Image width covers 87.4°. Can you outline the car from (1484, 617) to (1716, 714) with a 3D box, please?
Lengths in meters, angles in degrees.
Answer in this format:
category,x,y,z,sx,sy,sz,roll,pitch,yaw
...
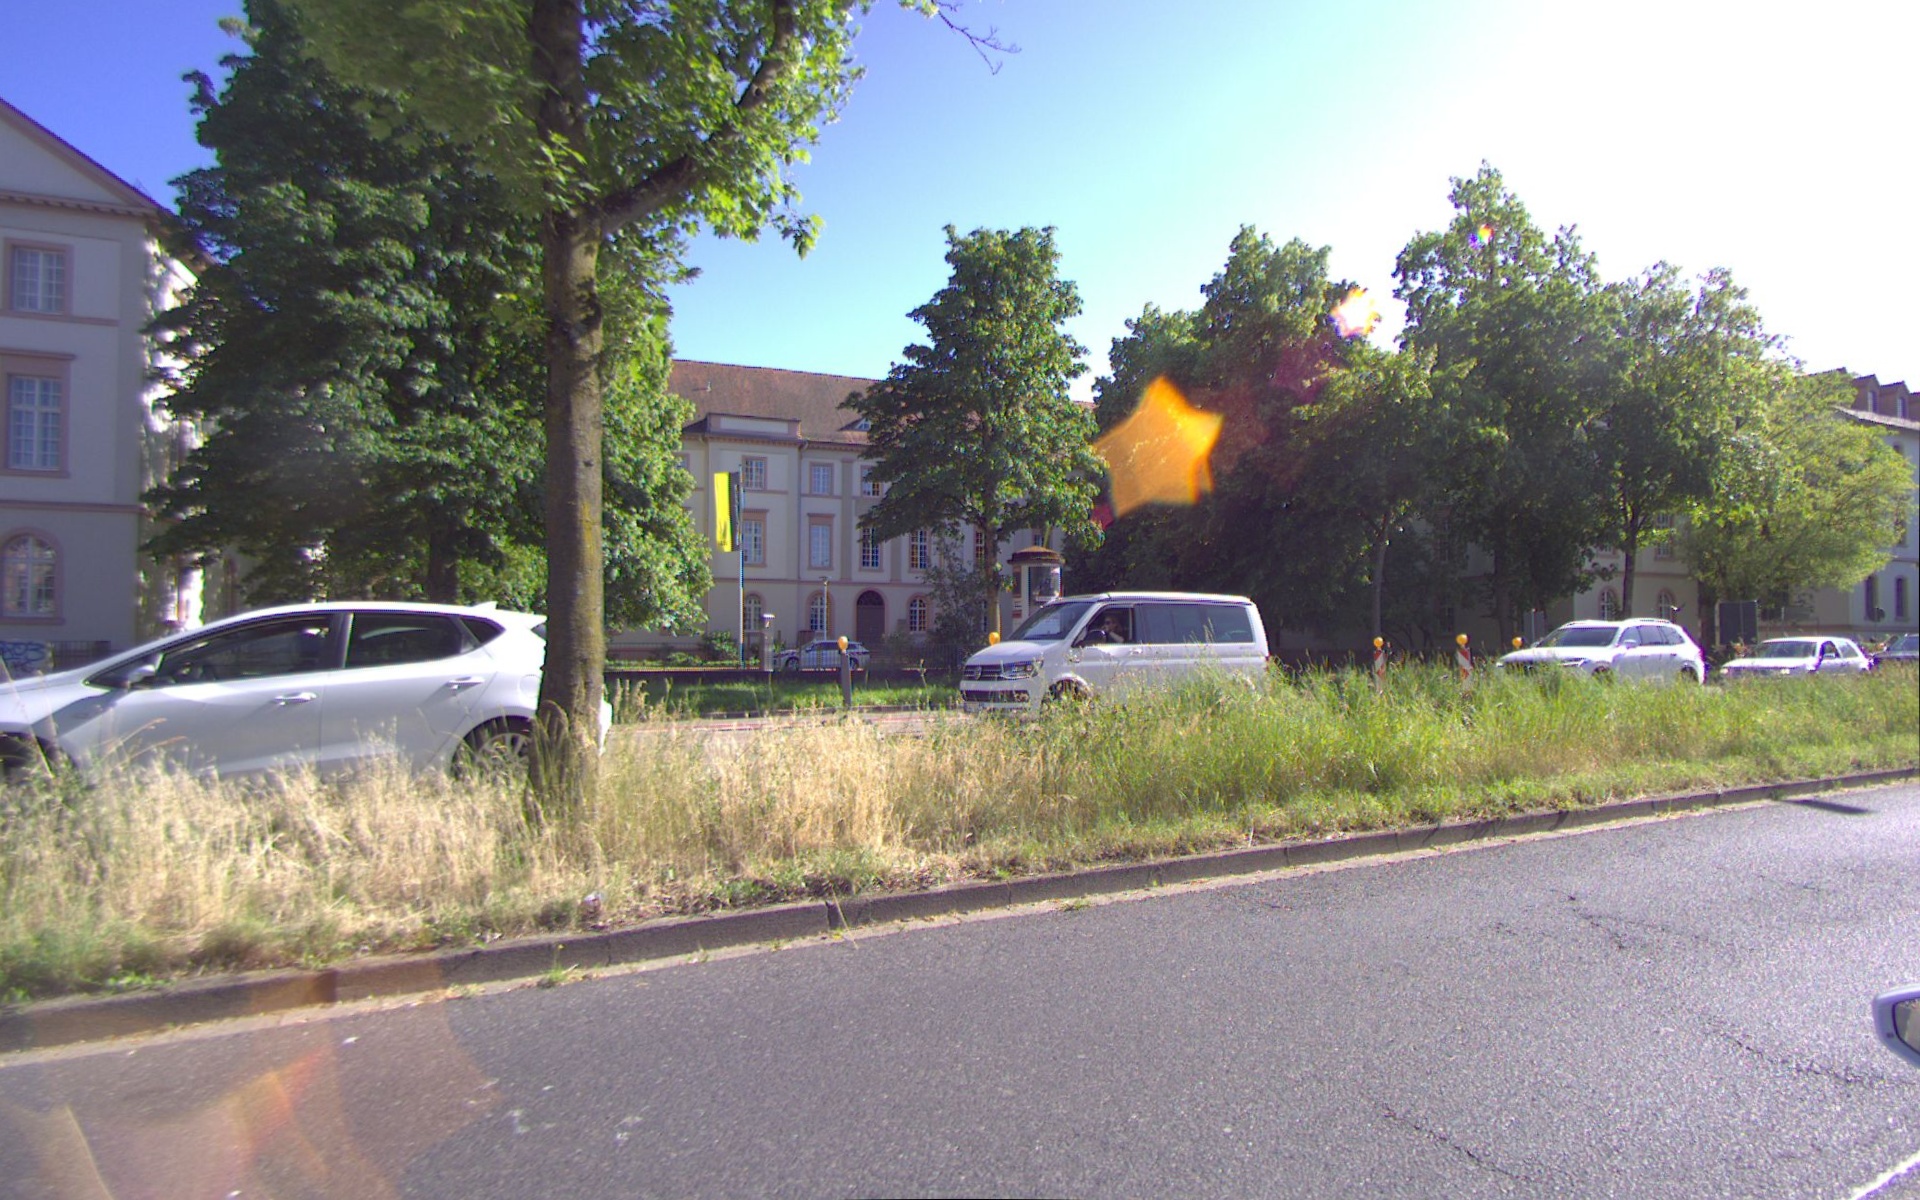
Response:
category,x,y,z,sx,sy,sz,roll,pitch,yaw
car,13.003,1.278,20.329,4.970,1.766,1.788,2,-2,-29

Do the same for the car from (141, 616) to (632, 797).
category,x,y,z,sx,sy,sz,roll,pitch,yaw
car,-5.629,0.981,10.349,4.029,1.539,1.788,2,-2,-28

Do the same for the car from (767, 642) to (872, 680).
category,x,y,z,sx,sy,sz,roll,pitch,yaw
car,-6.635,2.884,47.592,4.627,1.511,1.636,5,-3,-28

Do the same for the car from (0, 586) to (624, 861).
category,x,y,z,sx,sy,sz,roll,pitch,yaw
car,-4.667,0.745,7.041,4.153,1.539,1.788,1,-2,-29

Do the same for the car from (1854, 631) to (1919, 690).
category,x,y,z,sx,sy,sz,roll,pitch,yaw
car,26.685,1.646,27.595,4.389,1.539,1.788,2,-2,-28

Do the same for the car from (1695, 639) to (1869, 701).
category,x,y,z,sx,sy,sz,roll,pitch,yaw
car,19.786,1.636,24.166,4.205,1.369,1.788,1,-2,-29

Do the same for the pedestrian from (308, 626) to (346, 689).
category,x,y,z,sx,sy,sz,roll,pitch,yaw
pedestrian,-15.957,1.450,25.338,0.773,1.556,0.736,2,-2,-33

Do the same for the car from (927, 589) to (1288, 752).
category,x,y,z,sx,sy,sz,roll,pitch,yaw
car,2.212,0.974,14.811,4.955,2.054,2.224,2,-2,-28
